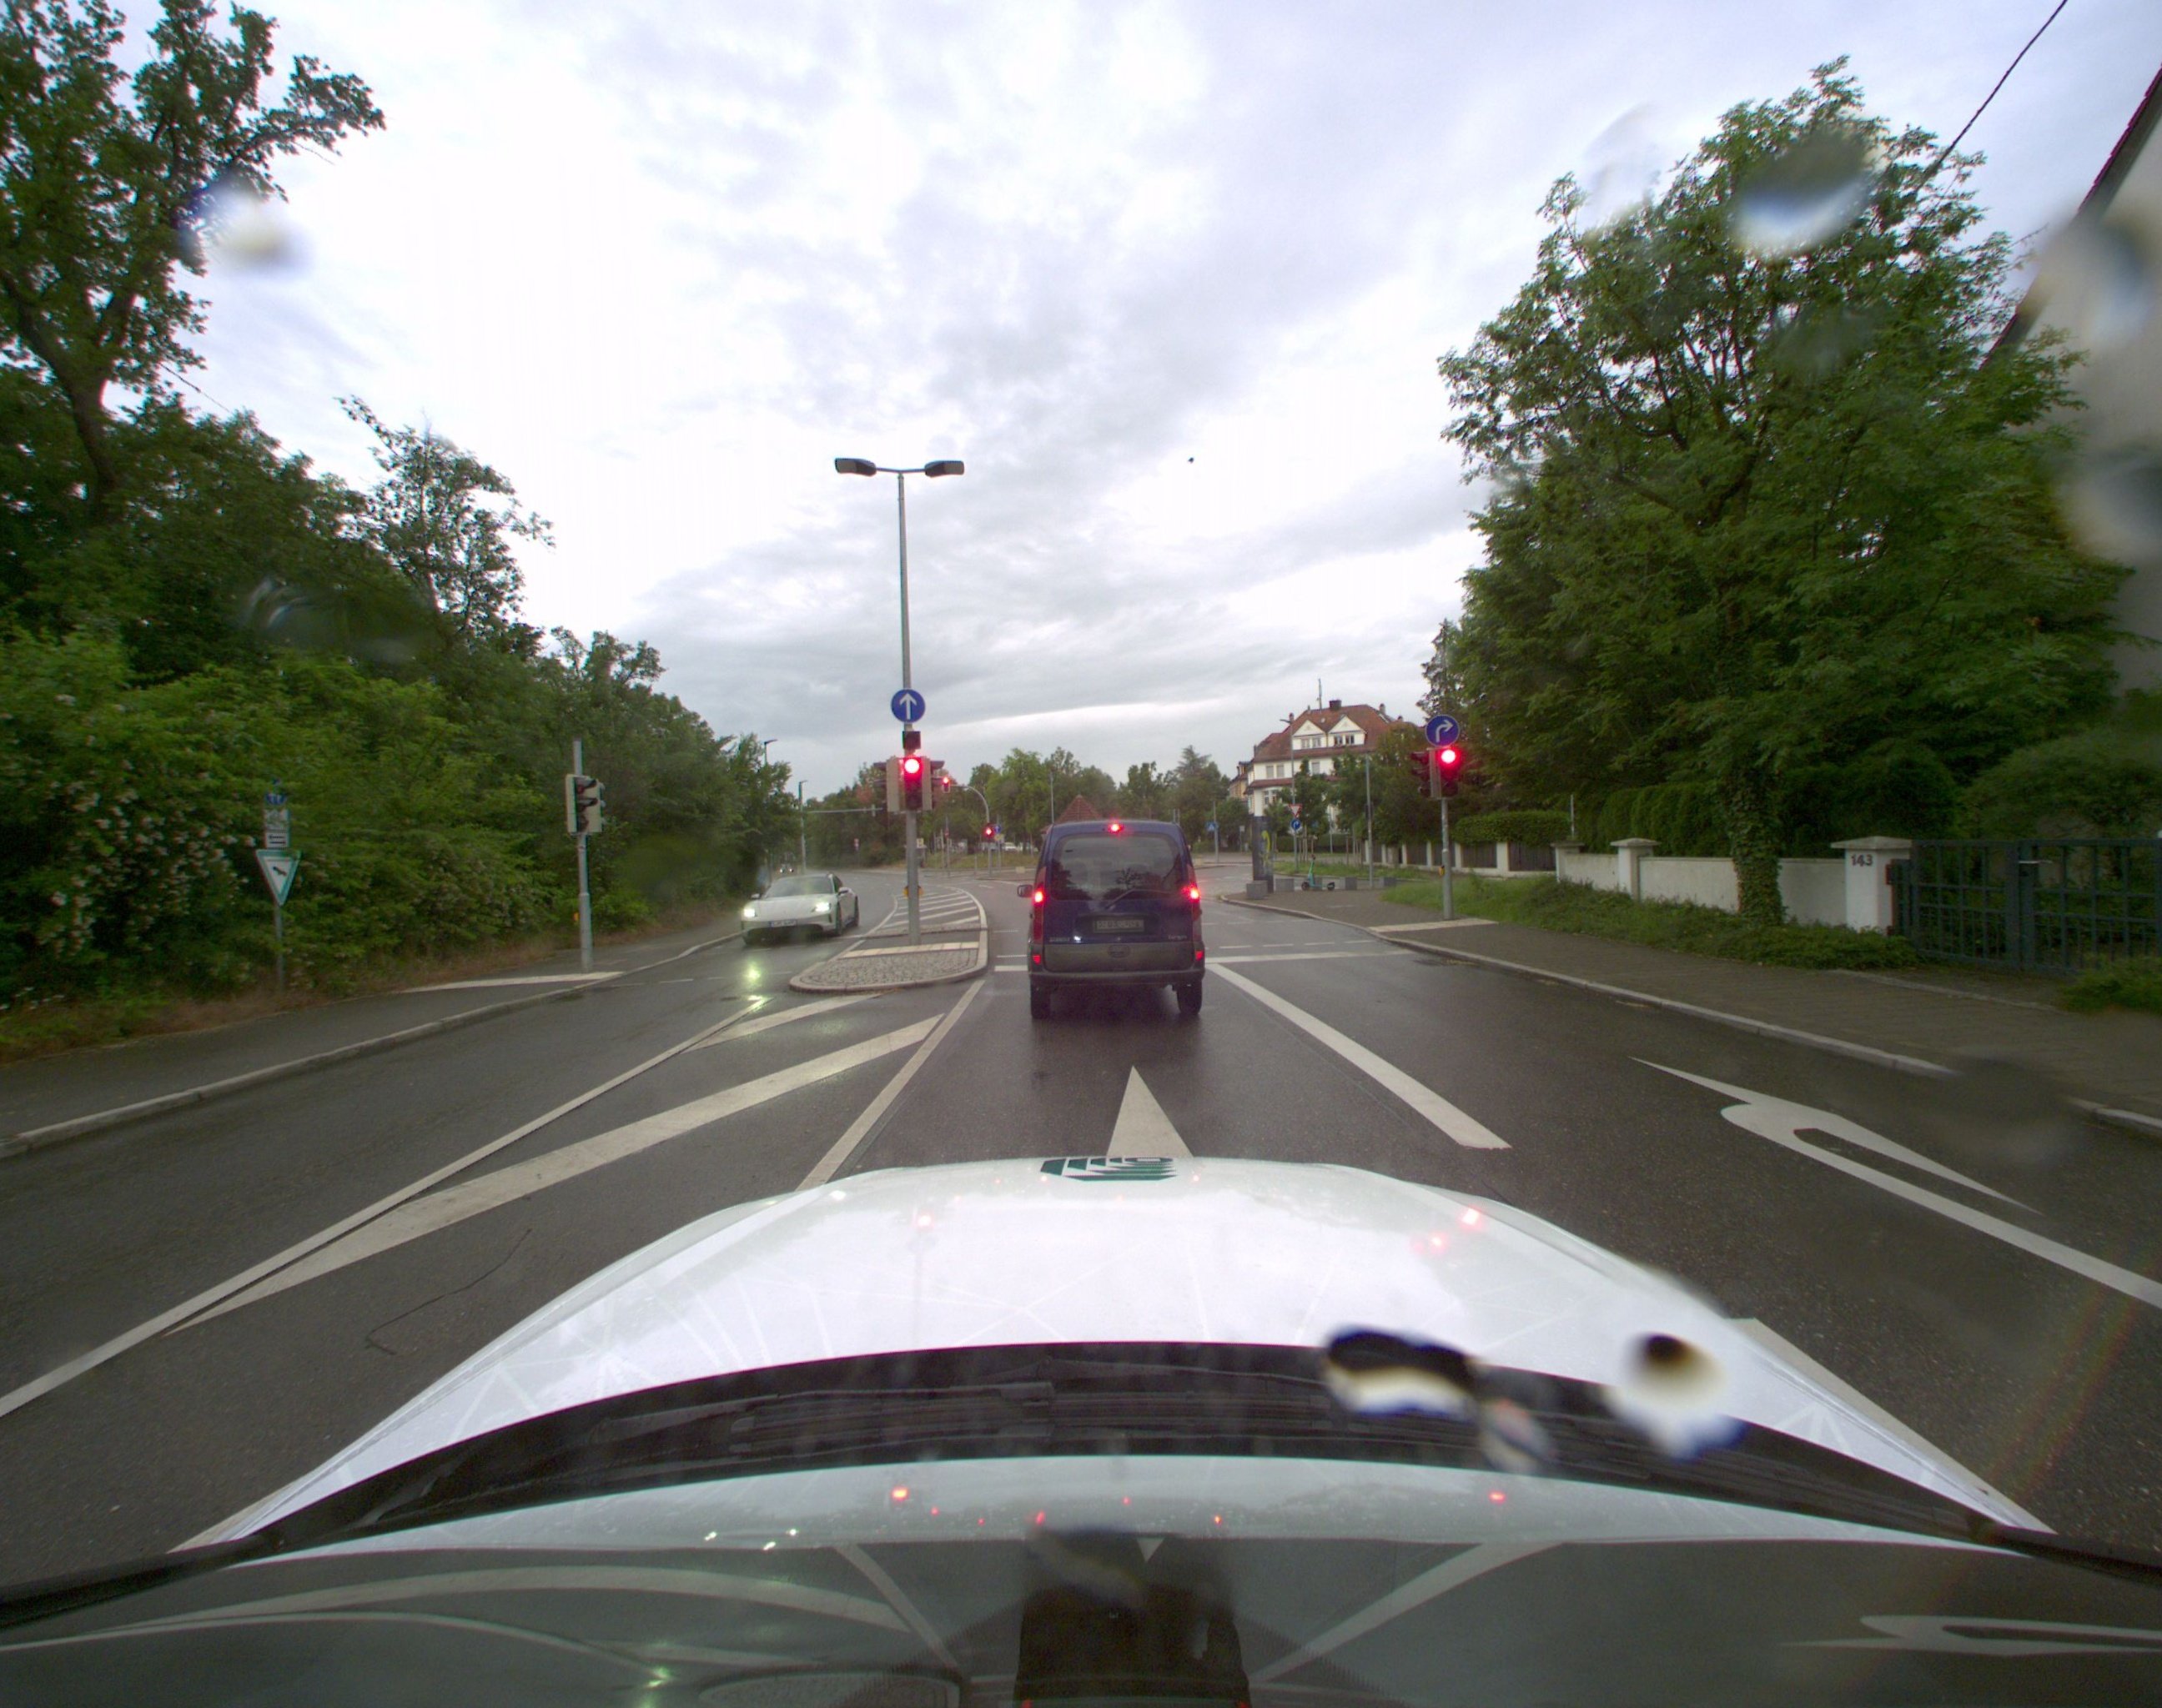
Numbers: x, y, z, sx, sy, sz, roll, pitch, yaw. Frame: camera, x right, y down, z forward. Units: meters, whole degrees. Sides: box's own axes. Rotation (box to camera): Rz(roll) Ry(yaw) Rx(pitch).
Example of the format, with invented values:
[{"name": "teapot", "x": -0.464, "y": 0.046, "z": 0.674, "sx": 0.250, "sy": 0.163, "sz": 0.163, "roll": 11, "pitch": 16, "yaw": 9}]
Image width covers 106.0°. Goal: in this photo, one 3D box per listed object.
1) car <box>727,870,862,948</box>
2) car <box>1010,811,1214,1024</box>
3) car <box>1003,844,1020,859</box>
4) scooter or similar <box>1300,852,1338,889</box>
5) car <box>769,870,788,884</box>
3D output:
[{"name": "car", "x": -6.345, "y": 1.152, "z": 18.576, "sx": 1.993, "sy": 1.311, "sz": 4.347, "roll": -5, "pitch": 1, "yaw": -8}, {"name": "car", "x": 0.271, "y": 0.538, "z": 9.011, "sx": 1.726, "sy": 1.786, "sz": 3.999, "roll": -1, "pitch": 0, "yaw": 0}, {"name": "car", "x": -9.380, "y": -0.313, "z": 110.351, "sx": 1.988, "sy": 1.812, "sz": 3.997, "roll": -1, "pitch": -1, "yaw": -2}, {"name": "scooter or similar", "x": 8.085, "y": 0.557, "z": 27.707, "sx": 1.145, "sy": 1.219, "sz": 0.406, "roll": -2, "pitch": -1, "yaw": 1}, {"name": "car", "x": -43.282, "y": 3.291, "z": 116.496, "sx": 2.005, "sy": 2.014, "sz": 3.963, "roll": -1, "pitch": -1, "yaw": -28}]
